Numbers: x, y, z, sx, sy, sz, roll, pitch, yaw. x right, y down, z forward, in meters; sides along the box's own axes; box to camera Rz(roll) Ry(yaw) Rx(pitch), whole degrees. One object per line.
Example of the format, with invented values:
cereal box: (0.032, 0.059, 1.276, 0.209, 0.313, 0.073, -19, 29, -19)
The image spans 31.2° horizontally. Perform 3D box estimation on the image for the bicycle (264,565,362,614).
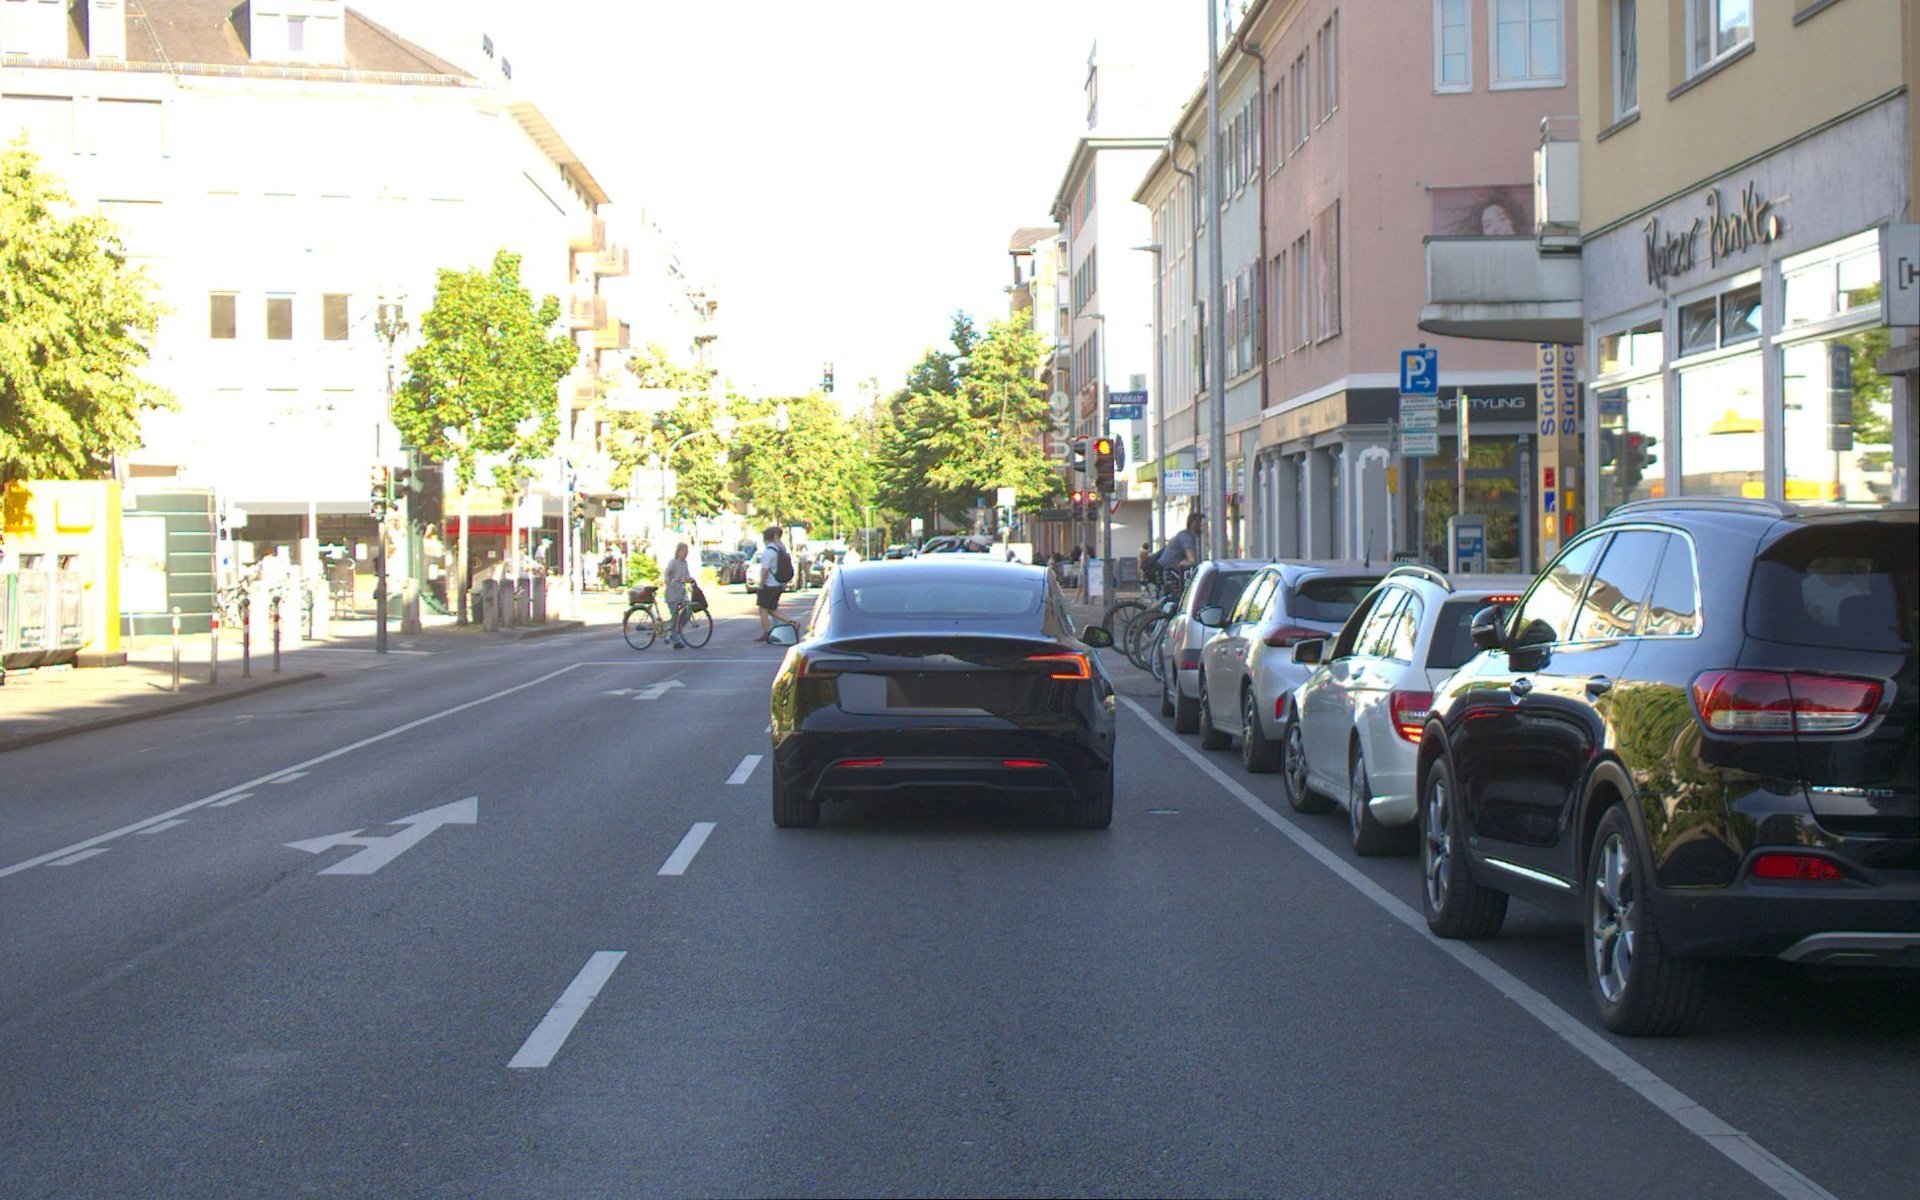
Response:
bicycle: (-14.670, -0.235, 77.985, 2.082, 1.100, 0.806, 0, 1, 0)

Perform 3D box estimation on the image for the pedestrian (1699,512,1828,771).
pedestrian: (5.197, 0.264, 22.256, 0.662, 1.627, 0.627, -2, 0, 4)

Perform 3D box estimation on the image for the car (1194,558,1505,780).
car: (2.668, 0.423, 24.386, 1.670, 1.422, 4.077, 0, 1, -1)

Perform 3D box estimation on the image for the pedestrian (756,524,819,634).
pedestrian: (-2.724, -0.330, 54.345, 0.901, 1.719, 0.744, 1, 1, 4)

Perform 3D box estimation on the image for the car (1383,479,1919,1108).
car: (2.763, 0.502, 11.795, 1.755, 1.731, 4.573, 0, 1, -4)

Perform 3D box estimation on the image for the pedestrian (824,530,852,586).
pedestrian: (-4.378, -1.508, 123.506, 0.750, 2.007, 0.798, 0, 1, -26)

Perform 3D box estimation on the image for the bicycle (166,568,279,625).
bicycle: (-14.685, -0.072, 68.497, 2.082, 1.100, 0.806, 0, 1, 0)

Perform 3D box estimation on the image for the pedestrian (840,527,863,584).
pedestrian: (-3.871, -1.589, 122.292, 0.627, 2.007, 0.558, 1, 1, 25)

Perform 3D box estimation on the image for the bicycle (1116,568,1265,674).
bicycle: (2.621, 0.237, 39.140, 1.627, 1.156, 0.433, -2, 1, -1)

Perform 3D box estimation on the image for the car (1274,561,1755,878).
car: (2.775, 0.529, 18.185, 1.738, 1.442, 4.464, 0, 1, -1)

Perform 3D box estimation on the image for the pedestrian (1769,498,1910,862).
pedestrian: (4.322, 0.385, 16.901, 0.433, 1.756, 0.481, 0, 0, -38)

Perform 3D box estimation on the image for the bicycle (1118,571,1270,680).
bicycle: (2.593, 0.277, 38.178, 1.627, 1.156, 0.433, -2, 1, -1)

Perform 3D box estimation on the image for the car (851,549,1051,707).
car: (-0.056, 0.227, 33.717, 1.850, 1.450, 3.786, 0, 1, 1)

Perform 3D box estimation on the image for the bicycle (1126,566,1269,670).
bicycle: (2.786, 0.207, 40.382, 1.628, 1.156, 0.433, -2, 1, 1)

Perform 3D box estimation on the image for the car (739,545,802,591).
car: (-6.953, -1.180, 126.383, 1.993, 1.535, 4.000, -3, 1, 0)

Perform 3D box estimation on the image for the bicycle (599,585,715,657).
bicycle: (-4.474, 0.309, 50.797, 1.615, 1.041, 0.591, 1, 0, 4)

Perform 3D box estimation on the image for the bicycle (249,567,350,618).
bicycle: (-14.555, -0.165, 75.790, 2.082, 1.100, 0.806, 0, 1, 0)

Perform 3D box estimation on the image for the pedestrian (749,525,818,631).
pedestrian: (-2.744, -0.344, 53.414, 0.986, 1.631, 0.737, 1, 1, 4)

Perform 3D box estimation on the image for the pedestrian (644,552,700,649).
pedestrian: (-4.292, 0.004, 51.242, 0.743, 1.435, 0.582, 1, 0, 3)

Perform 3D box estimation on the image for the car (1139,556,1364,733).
car: (2.414, 0.329, 29.213, 1.622, 1.389, 3.886, 0, 1, 1)

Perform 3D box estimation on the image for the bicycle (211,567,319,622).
bicycle: (-14.350, -0.117, 71.013, 2.082, 1.100, 0.806, 0, 1, 0)

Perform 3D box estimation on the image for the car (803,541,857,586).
car: (-5.104, -1.448, 134.620, 2.050, 1.721, 4.654, 0, 1, -2)

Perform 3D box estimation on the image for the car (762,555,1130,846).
car: (-0.045, 0.482, 19.280, 1.850, 1.450, 3.786, 0, 1, 1)
